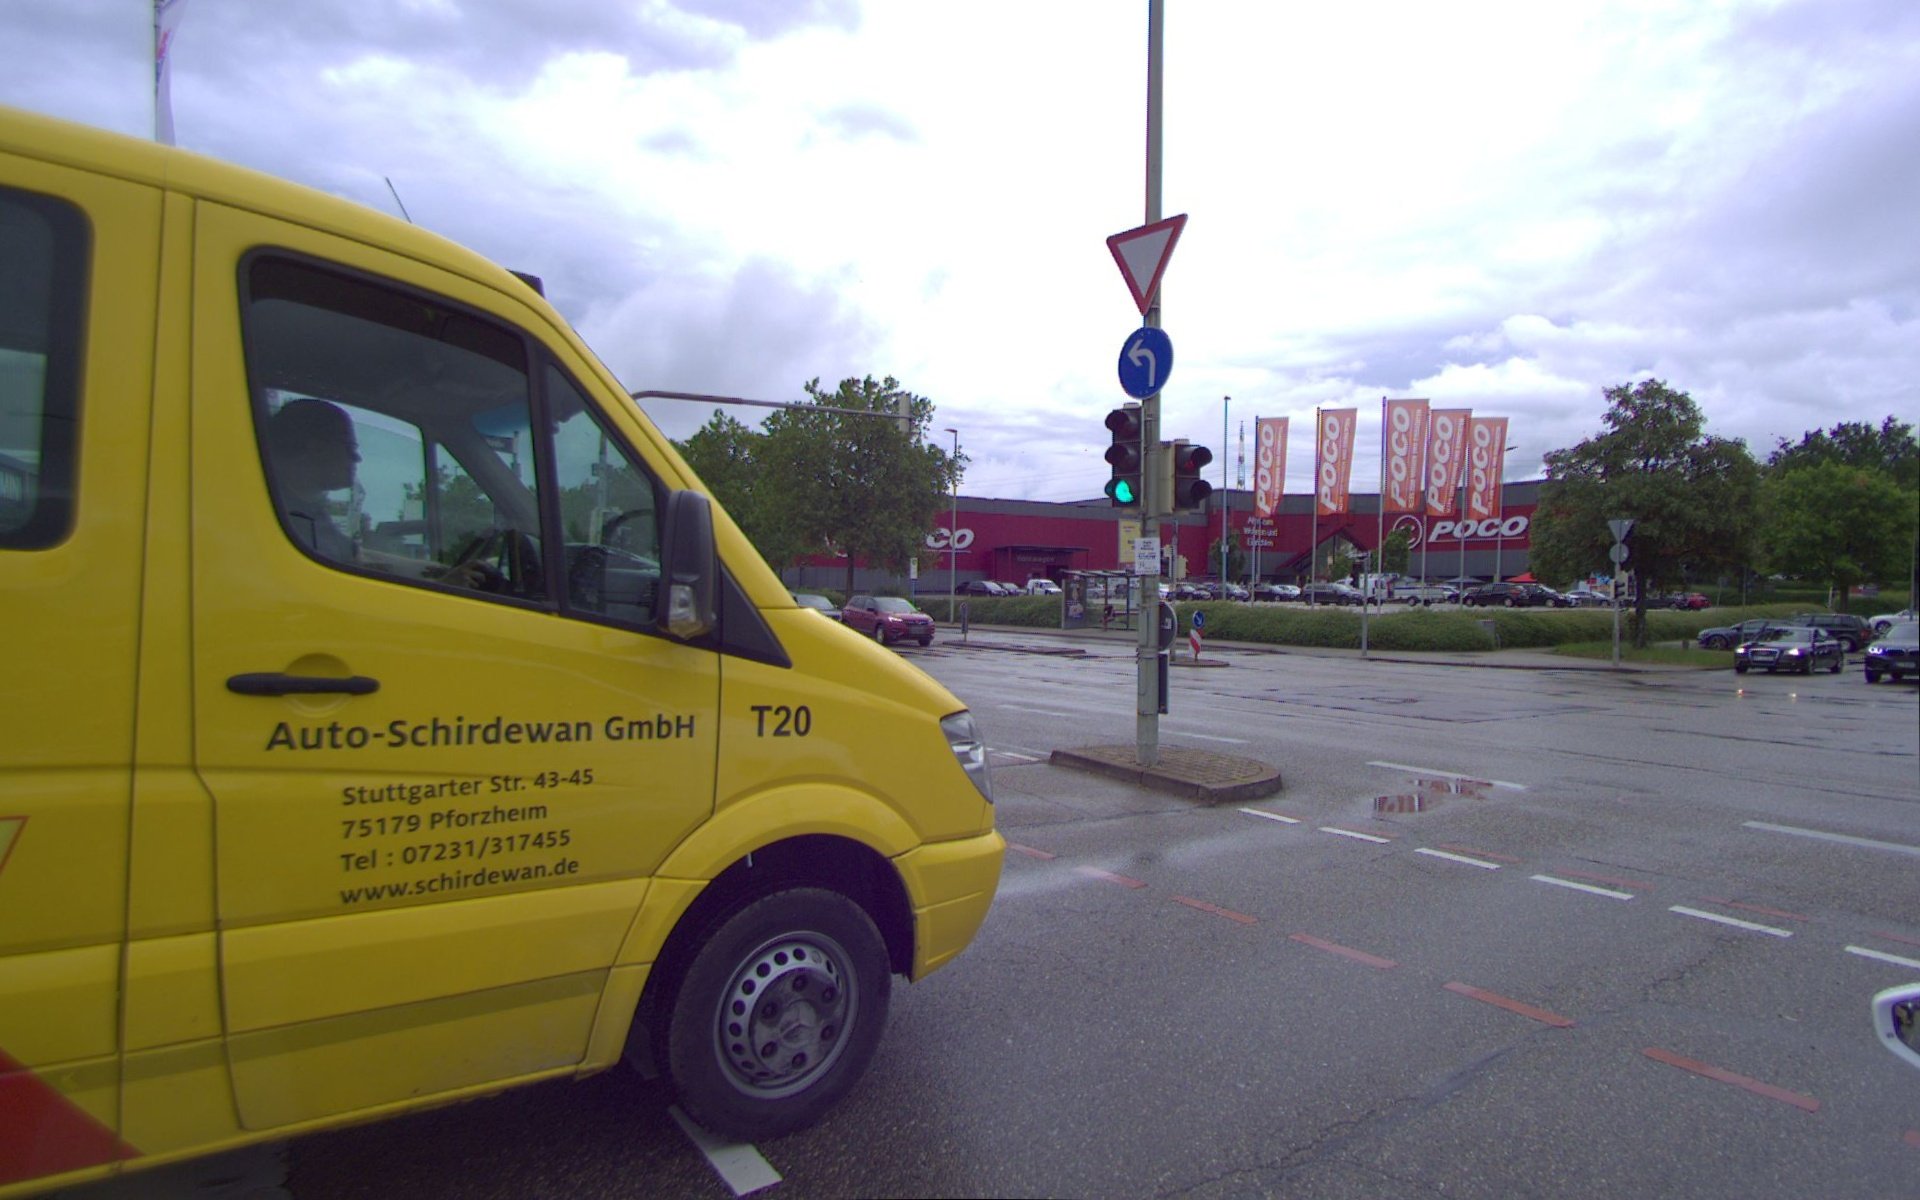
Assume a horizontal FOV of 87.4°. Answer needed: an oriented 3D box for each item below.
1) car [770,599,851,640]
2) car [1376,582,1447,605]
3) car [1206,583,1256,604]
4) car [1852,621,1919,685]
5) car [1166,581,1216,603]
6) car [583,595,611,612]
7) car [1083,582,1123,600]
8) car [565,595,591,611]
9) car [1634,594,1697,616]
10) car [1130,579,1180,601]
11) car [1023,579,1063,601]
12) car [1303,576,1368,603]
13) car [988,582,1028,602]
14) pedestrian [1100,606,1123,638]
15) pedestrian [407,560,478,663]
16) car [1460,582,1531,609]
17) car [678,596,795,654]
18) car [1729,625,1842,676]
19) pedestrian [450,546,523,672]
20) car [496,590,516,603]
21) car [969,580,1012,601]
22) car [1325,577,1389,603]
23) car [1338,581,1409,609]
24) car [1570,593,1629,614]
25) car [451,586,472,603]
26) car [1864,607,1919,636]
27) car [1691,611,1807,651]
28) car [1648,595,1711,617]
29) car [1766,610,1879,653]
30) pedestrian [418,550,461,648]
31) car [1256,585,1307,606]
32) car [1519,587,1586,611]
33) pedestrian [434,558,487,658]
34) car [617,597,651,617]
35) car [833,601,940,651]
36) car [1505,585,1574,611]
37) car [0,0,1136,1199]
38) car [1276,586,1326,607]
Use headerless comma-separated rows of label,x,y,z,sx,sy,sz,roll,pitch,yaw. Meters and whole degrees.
car,-5.861,0.735,39.050,1.681,1.415,3.667,2,0,-34
car,28.811,-0.408,64.238,1.654,1.399,3.876,2,0,-31
car,22.427,-0.531,83.126,1.654,1.667,3.929,2,0,-31
car,25.555,1.390,26.691,4.549,1.574,1.882,2,0,-37
car,18.517,-0.659,80.686,1.654,1.667,3.929,2,0,-31
car,-36.102,0.387,99.761,1.824,1.610,3.965,2,-1,-32
car,13.501,-0.842,95.090,1.678,1.667,3.929,2,0,-31
car,-40.005,0.282,105.149,1.824,1.610,3.965,2,-1,-32
car,55.829,0.383,79.532,1.654,1.667,3.794,2,0,-31
car,15.453,-0.761,79.878,1.654,1.667,3.929,2,0,-31
car,7.634,-0.931,92.883,1.773,1.951,3.716,2,-1,-33
car,24.451,-0.649,65.532,1.654,1.667,3.794,2,0,-31
car,4.278,-0.726,90.100,1.678,1.667,3.929,2,0,-31
pedestrian,7.103,1.029,47.118,0.774,1.450,0.635,2,-1,-36
pedestrian,-9.395,0.216,18.258,0.683,1.798,0.816,3,0,17
car,35.489,-0.285,66.633,1.654,1.667,3.794,2,0,-31
car,-6.319,0.665,28.081,1.739,1.483,3.959,2,-1,-36
car,25.302,1.526,30.753,3.963,1.423,1.770,2,0,-37
pedestrian,-7.947,0.148,16.884,0.683,2.040,0.816,2,0,17
car,-57.580,-0.438,127.352,1.824,1.610,3.965,2,-1,-32
car,2.475,-0.782,83.308,1.678,1.667,3.929,2,0,-31
car,26.655,-0.655,67.529,1.614,1.667,3.794,2,0,-31
car,35.319,-0.439,85.997,1.806,2.334,5.599,2,0,-31
car,53.377,0.295,83.876,1.654,1.667,3.794,2,0,-31
car,-54.299,-0.590,109.395,1.604,1.751,3.644,2,-1,-33
car,55.383,1.254,58.204,1.669,1.630,4.242,2,0,-36
car,33.626,1.287,42.883,1.671,1.574,3.619,2,0,-39
car,58.081,0.456,81.124,1.654,1.667,3.794,2,0,-31
car,38.782,1.395,45.229,1.671,1.747,3.619,2,0,-39
pedestrian,-11.070,-0.006,21.391,0.732,2.040,0.693,2,-1,-26
car,27.200,-0.374,85.054,1.654,1.667,3.929,2,0,-31
car,41.840,-0.077,71.001,1.654,1.667,3.794,2,0,-31
pedestrian,-9.707,0.148,19.506,0.806,1.881,0.692,3,1,-29
car,-28.069,0.593,86.440,1.824,1.610,3.965,2,-1,-32
car,-2.537,0.853,33.828,1.703,1.483,3.959,4,-2,-36
car,39.798,-0.143,69.066,1.654,1.667,3.794,2,0,-31
car,-2.115,0.146,2.548,4.966,2.507,2.224,1,0,-36
car,29.341,-0.304,86.433,1.654,1.667,3.929,2,0,-31
